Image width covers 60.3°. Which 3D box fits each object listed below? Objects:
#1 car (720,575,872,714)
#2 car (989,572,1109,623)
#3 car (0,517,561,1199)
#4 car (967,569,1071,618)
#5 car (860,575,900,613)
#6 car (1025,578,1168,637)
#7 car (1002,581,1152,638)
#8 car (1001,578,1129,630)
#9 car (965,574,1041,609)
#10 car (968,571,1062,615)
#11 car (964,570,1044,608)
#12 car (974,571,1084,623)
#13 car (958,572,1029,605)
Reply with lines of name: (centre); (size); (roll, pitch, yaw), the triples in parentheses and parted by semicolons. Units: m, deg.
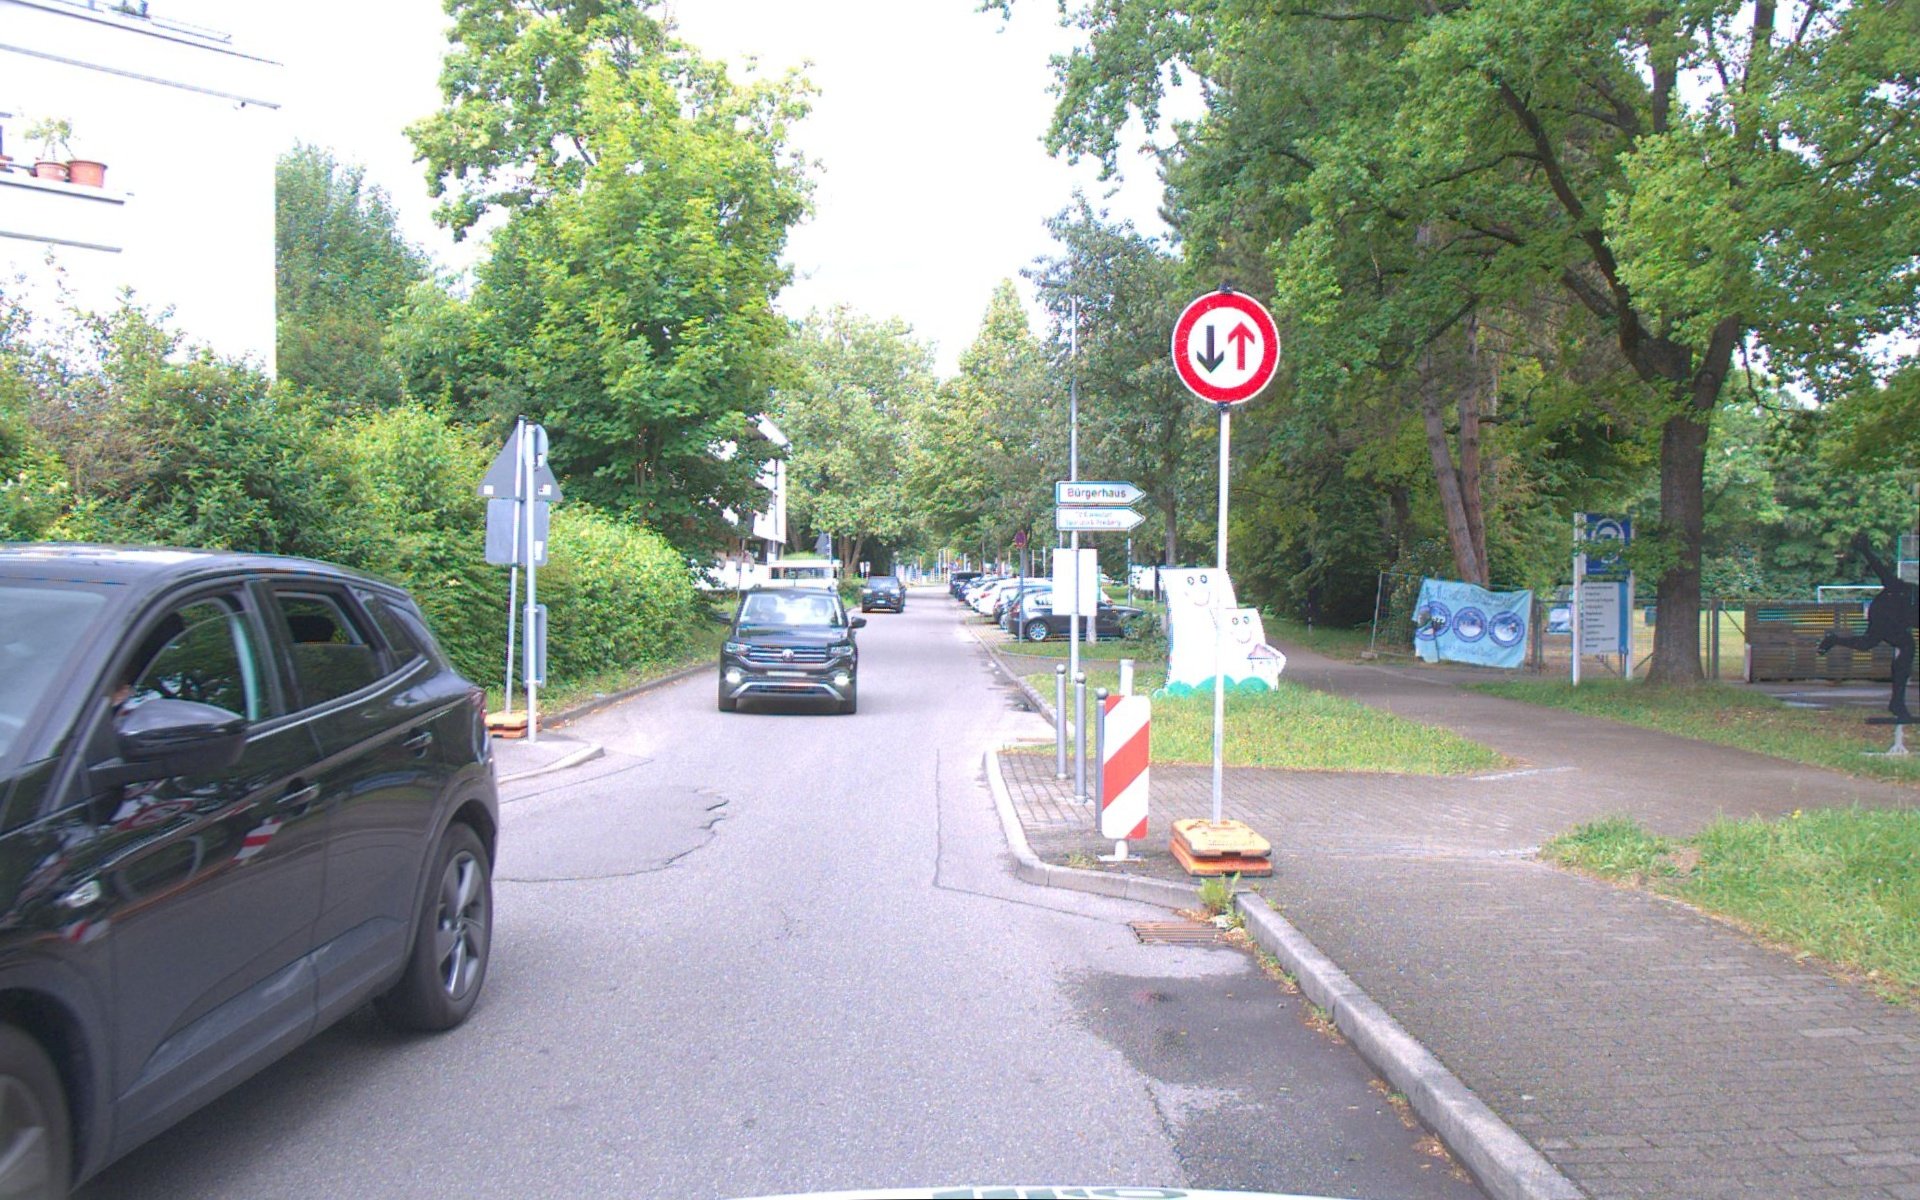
car: (-2.126, 0.505, 21.604); (1.768, 1.619, 4.291); (0, 0, -5)
car: (3.132, -0.089, 58.642); (3.984, 1.514, 1.821); (-4, 1, -5)
car: (-2.551, 0.643, 4.260); (1.765, 1.619, 4.298); (0, 0, 3)
car: (2.386, -0.278, 67.750); (3.984, 1.716, 1.821); (-4, 1, -5)
car: (-3.922, -0.307, 81.623); (1.929, 1.778, 4.337); (0, 0, -2)
car: (3.980, 0.236, 48.749); (3.981, 1.596, 1.821); (-1, -1, -2)
car: (3.226, 0.280, 46.171); (3.981, 1.459, 1.999); (-1, -1, -2)
car: (3.399, 0.117, 53.926); (3.981, 1.595, 1.822); (-1, 1, -2)
car: (2.407, -0.487, 93.017); (3.984, 1.716, 1.821); (-4, 1, -5)
car: (2.455, -0.330, 74.314); (3.984, 1.716, 1.821); (-4, 1, -5)
car: (2.294, -0.581, 87.433); (3.984, 1.716, 1.821); (-4, 1, -5)
car: (2.639, -0.111, 63.845); (3.984, 1.716, 1.821); (-4, 1, -5)
car: (1.978, -0.701, 98.521); (3.984, 1.716, 1.821); (-4, 1, -5)
